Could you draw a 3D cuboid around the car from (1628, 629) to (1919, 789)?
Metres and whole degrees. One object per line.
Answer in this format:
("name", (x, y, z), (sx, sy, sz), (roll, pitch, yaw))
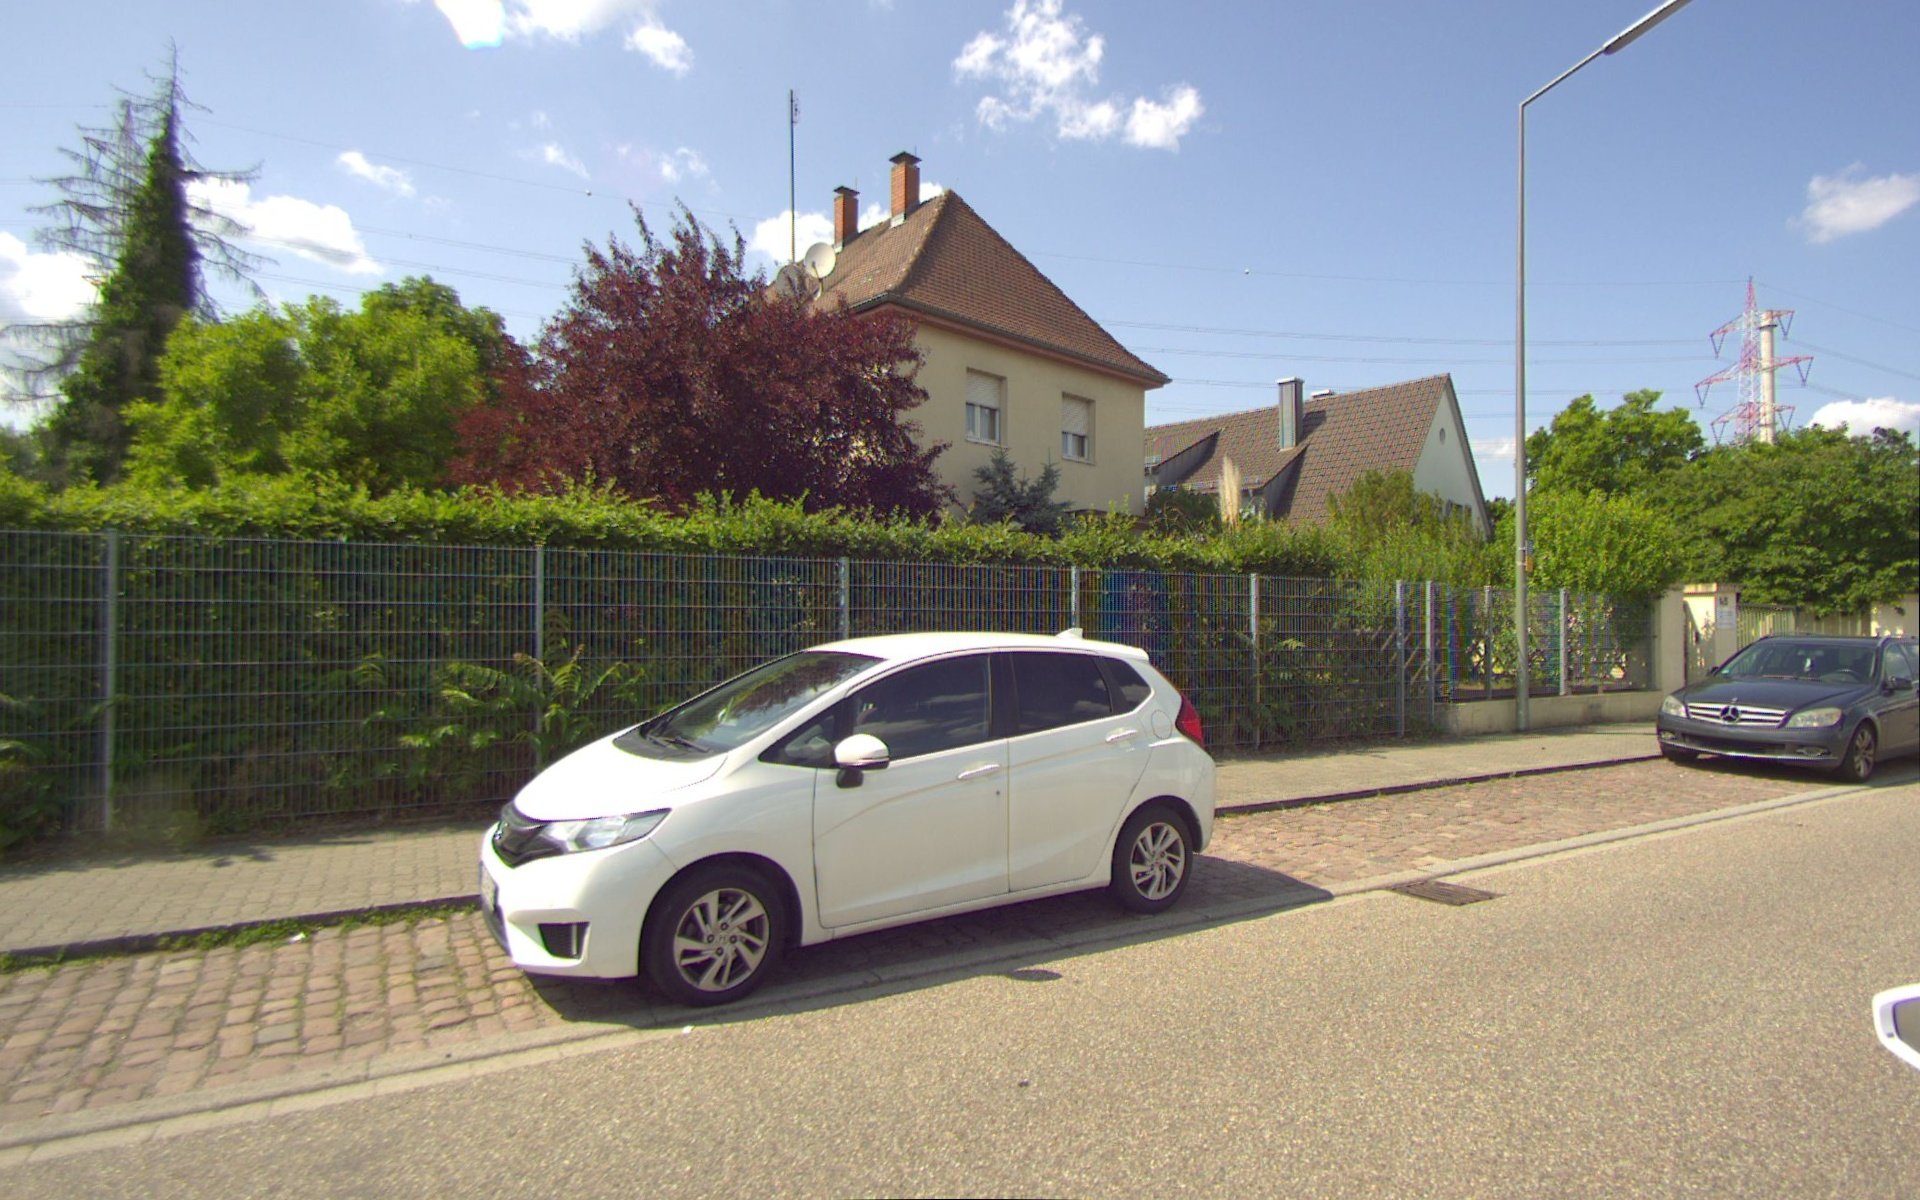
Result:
("car", (9.676, 1.079, 11.360), (4.445, 1.437, 1.796), (1, 0, -31))

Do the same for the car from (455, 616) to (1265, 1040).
("car", (-0.365, 0.876, 5.473), (4.130, 1.542, 1.611), (1, -1, -33))
